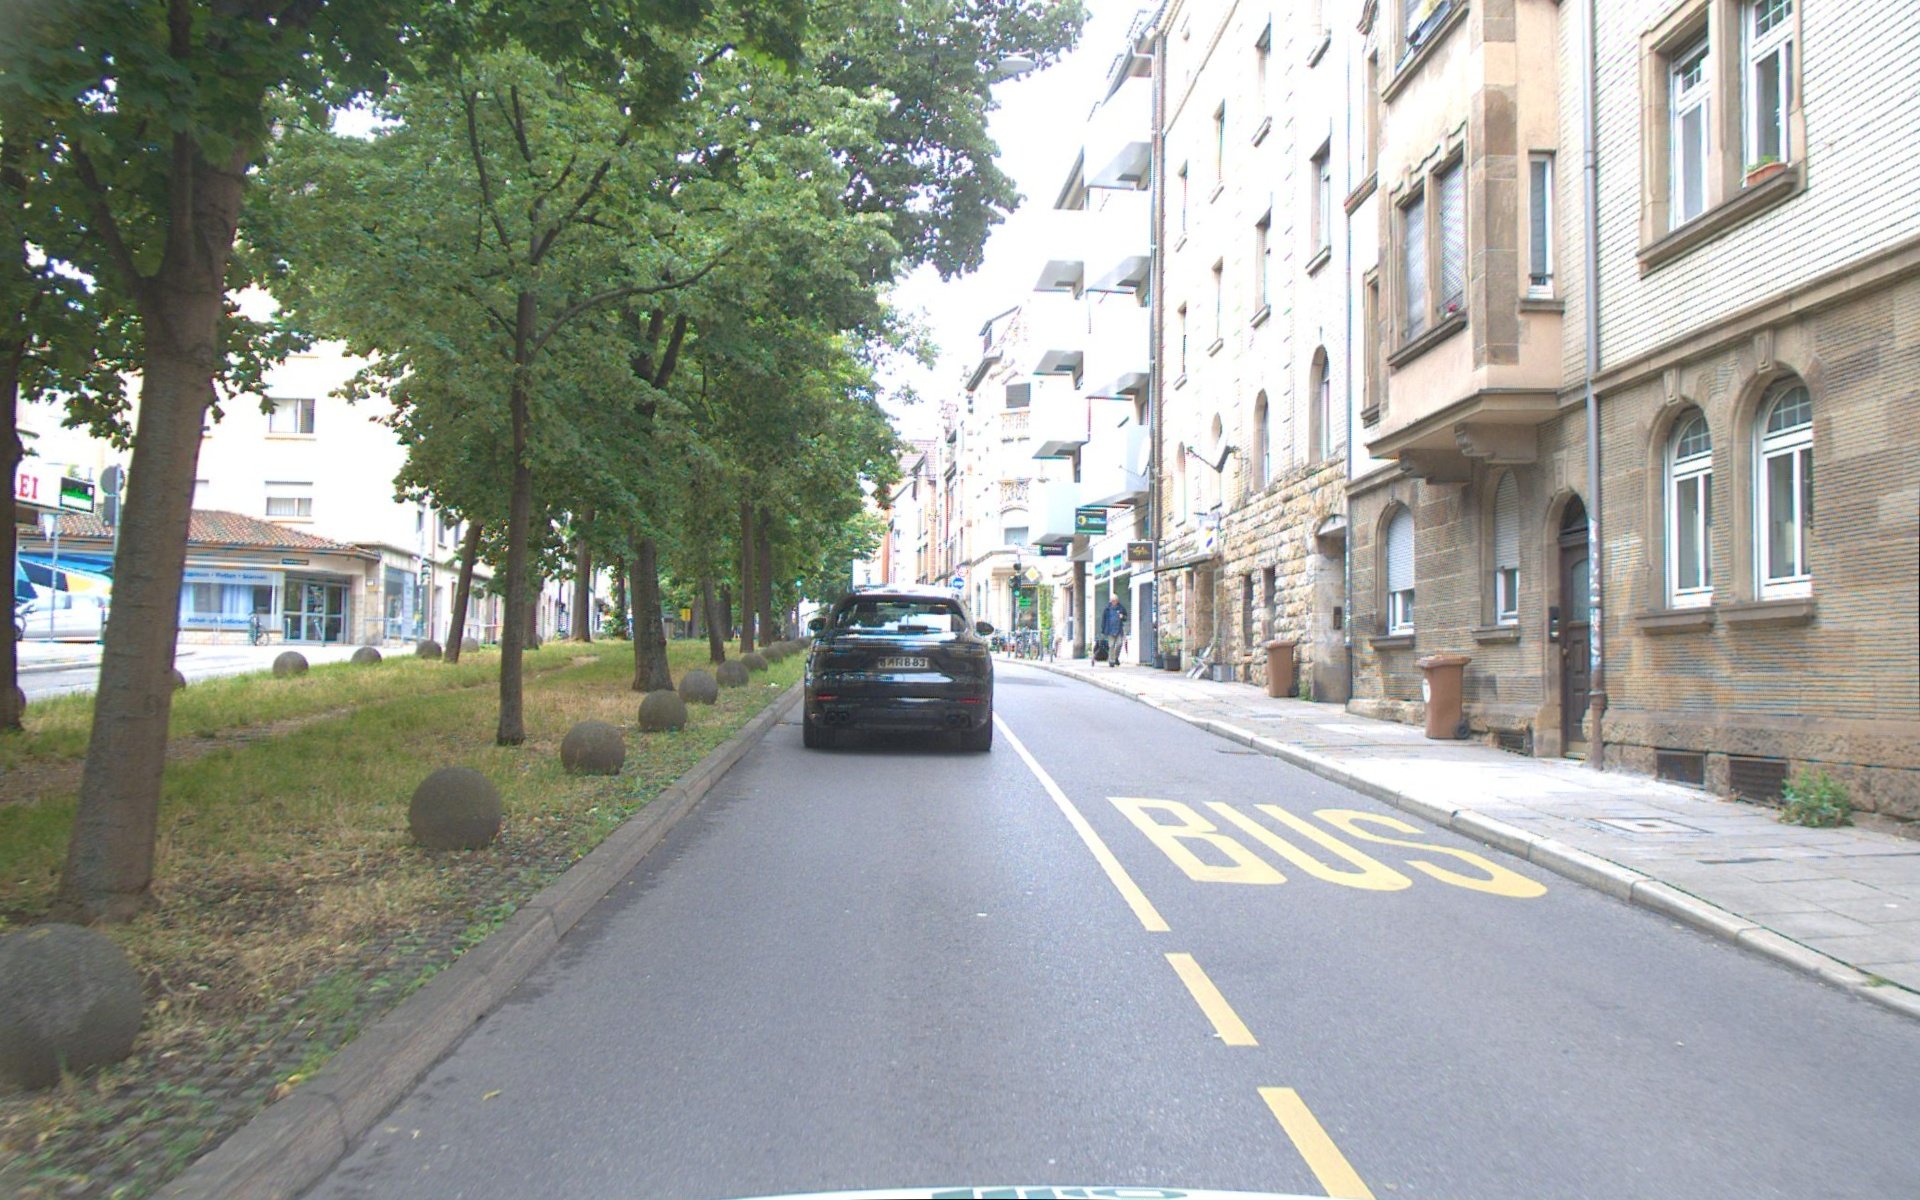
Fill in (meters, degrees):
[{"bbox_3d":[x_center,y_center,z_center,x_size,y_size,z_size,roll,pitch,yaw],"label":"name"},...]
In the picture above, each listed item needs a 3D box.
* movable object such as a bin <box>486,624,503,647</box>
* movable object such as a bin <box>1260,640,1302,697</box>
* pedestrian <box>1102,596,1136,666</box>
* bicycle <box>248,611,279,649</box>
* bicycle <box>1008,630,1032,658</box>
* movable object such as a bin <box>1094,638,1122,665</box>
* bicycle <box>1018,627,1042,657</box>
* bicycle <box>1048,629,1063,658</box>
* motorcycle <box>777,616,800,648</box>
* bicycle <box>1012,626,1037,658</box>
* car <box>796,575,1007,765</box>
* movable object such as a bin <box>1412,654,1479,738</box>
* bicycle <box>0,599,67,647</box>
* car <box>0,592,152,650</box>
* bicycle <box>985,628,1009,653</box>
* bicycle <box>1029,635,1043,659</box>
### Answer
[{"bbox_3d":[-22.334,1.695,79.390,0.679,1.078,0.688,2,-3,-9],"label":"movable object such as a bin"},{"bbox_3d":[5.310,1.141,27.404,0.582,0.920,0.502,1,-4,-2],"label":"movable object such as a bin"},{"bbox_3d":[3.964,0.771,41.309,0.736,1.723,0.858,0,-2,-2],"label":"pedestrian"},{"bbox_3d":[-21.434,0.929,50.884,0.752,1.104,2.020,3,-3,-25],"label":"bicycle"},{"bbox_3d":[2.038,1.497,56.328,0.281,0.948,1.753,2,-2,-16],"label":"bicycle"},{"bbox_3d":[3.765,1.315,42.150,0.595,0.680,0.858,0,-2,-2],"label":"movable object such as a bin"},{"bbox_3d":[2.243,1.359,53.344,0.557,0.948,1.773,2,-2,-4],"label":"bicycle"},{"bbox_3d":[4.423,2.033,76.737,0.438,1.182,1.833,0,4,-5],"label":"bicycle"},{"bbox_3d":[-8.162,1.525,78.926,0.999,1.472,2.245,-1,-2,-4],"label":"motorcycle"},{"bbox_3d":[2.197,1.450,56.658,0.281,1.073,1.753,2,-2,-16],"label":"bicycle"},{"bbox_3d":[-0.603,0.649,17.965,1.953,1.694,4.000,3,1,-1],"label":"car"},{"bbox_3d":[5.551,1.091,18.926,0.582,0.920,0.562,1,-1,-2],"label":"movable object such as a bin"},{"bbox_3d":[-22.303,0.524,38.966,2.402,1.065,0.867,2,-2,24],"label":"bicycle"},{"bbox_3d":[-25.710,0.609,47.810,3.997,1.505,1.798,-2,-1,-37],"label":"car"},{"bbox_3d":[1.749,1.930,78.736,0.861,1.149,2.976,2,-2,-4],"label":"bicycle"},{"bbox_3d":[3.548,2.177,77.065,0.342,1.077,1.832,4,-1,-5],"label":"bicycle"}]
